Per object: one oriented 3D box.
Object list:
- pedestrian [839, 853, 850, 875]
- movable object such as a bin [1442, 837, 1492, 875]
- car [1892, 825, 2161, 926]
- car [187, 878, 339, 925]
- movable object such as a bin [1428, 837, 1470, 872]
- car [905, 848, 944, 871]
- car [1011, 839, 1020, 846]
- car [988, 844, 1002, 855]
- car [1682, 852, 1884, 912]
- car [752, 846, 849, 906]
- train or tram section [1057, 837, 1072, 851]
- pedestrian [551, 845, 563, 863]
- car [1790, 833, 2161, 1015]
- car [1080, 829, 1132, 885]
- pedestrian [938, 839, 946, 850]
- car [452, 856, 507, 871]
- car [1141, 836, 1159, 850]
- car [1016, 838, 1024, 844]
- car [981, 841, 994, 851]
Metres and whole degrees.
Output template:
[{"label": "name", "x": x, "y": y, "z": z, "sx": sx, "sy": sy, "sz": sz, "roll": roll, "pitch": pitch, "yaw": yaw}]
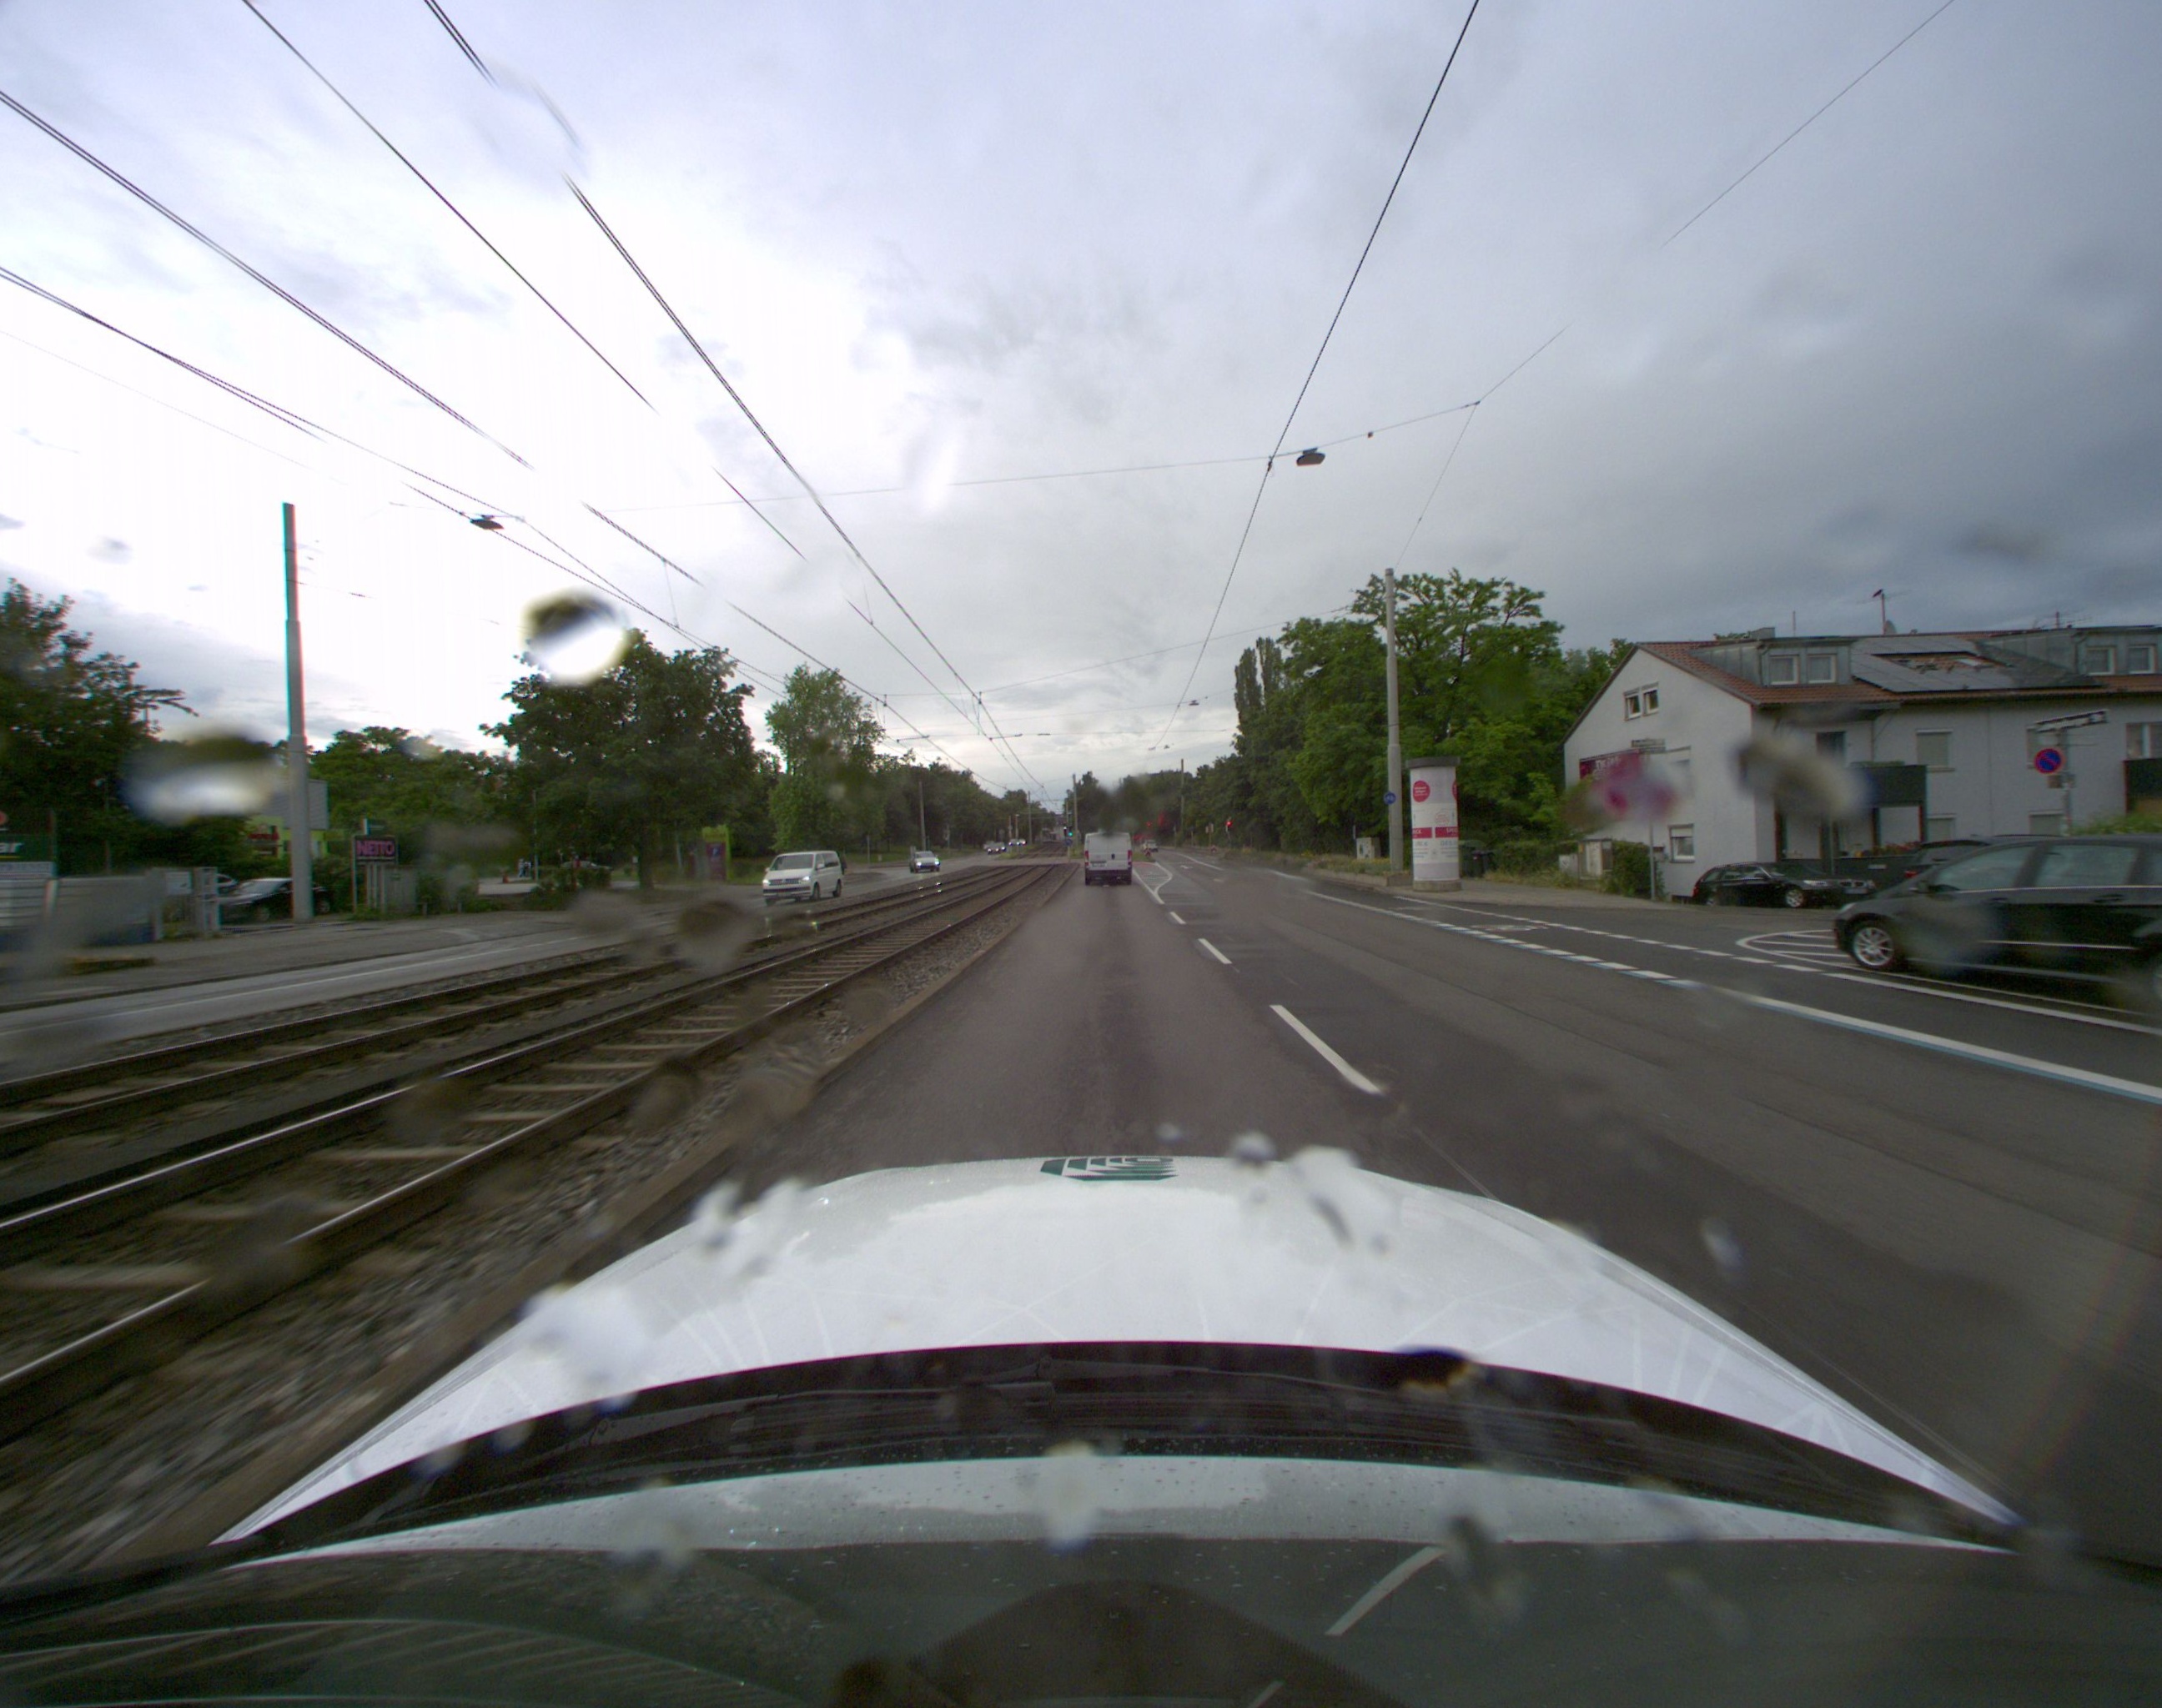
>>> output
[{"label": "pedestrian", "x": -16.938, "y": 0.705, "z": 58.280, "sx": 0.589, "sy": 1.532, "sz": 0.668, "roll": -1, "pitch": -1, "yaw": 0}, {"label": "movable object such as a bin", "x": 14.862, "y": 0.083, "z": 31.399, "sx": 1.307, "sy": 1.418, "sz": 1.299, "roll": 0, "pitch": -1, "yaw": -1}, {"label": "car", "x": 17.680, "y": 0.379, "z": 14.613, "sx": 4.253, "sy": 1.655, "sz": 1.882, "roll": 1, "pitch": -1, "yaw": 5}, {"label": "car", "x": -28.916, "y": 1.620, "z": 28.983, "sx": 1.685, "sy": 1.456, "sz": 3.990, "roll": 0, "pitch": -1, "yaw": -7}, {"label": "movable object such as a bin", "x": 14.865, "y": 0.026, "z": 32.901, "sx": 1.181, "sy": 1.418, "sz": 1.134, "roll": 0, "pitch": -1, "yaw": -1}, {"label": "car", "x": -12.678, "y": 0.450, "z": 65.832, "sx": 2.003, "sy": 1.649, "sz": 4.722, "roll": -4, "pitch": 1, "yaw": -24}, {"label": "car", "x": -13.026, "y": -2.282, "z": 162.247, "sx": 1.596, "sy": 1.401, "sz": 3.791, "roll": -1, "pitch": 2, "yaw": -1}, {"label": "car", "x": -11.985, "y": -0.669, "z": 113.203, "sx": 1.596, "sy": 1.401, "sz": 3.791, "roll": -1, "pitch": 2, "yaw": -1}, {"label": "car", "x": 19.877, "y": 0.886, "z": 23.413, "sx": 1.746, "sy": 1.391, "sz": 4.727, "roll": -1, "pitch": -6, "yaw": 2}, {"label": "car", "x": -10.944, "y": 0.770, "z": 32.224, "sx": 1.988, "sy": 2.013, "sz": 5.059, "roll": -4, "pitch": 1, "yaw": -1}, {"label": "train or tram section", "x": -4.678, "y": -2.841, "z": 235.351, "sx": 4.046, "sy": 3.894, "sz": 15.038, "roll": -1, "pitch": -1, "yaw": 0}, {"label": "pedestrian", "x": -49.011, "y": 0.007, "z": 76.143, "sx": 0.672, "sy": 1.602, "sz": 0.608, "roll": -1, "pitch": -1, "yaw": 7}, {"label": "car", "x": 10.069, "y": 0.566, "z": 8.349, "sx": 1.830, "sy": 1.533, "sz": 4.440, "roll": -1, "pitch": 1, "yaw": 1}, {"label": "car", "x": 1.069, "y": 0.099, "z": 36.783, "sx": 2.139, "sy": 2.283, "sz": 5.063, "roll": -1, "pitch": 1, "yaw": 0}, {"label": "pedestrian", "x": -21.511, "y": -1.505, "z": 126.108, "sx": 1.012, "sy": 1.600, "sz": 1.038, "roll": -2, "pitch": 1, "yaw": -6}, {"label": "car", "x": -62.933, "y": 0.996, "z": 85.280, "sx": 4.191, "sy": 1.533, "sz": 1.836, "roll": -1, "pitch": 0, "yaw": -11}, {"label": "car", "x": 8.500, "y": -1.358, "z": 100.064, "sx": 1.699, "sy": 1.521, "sz": 3.789, "roll": -1, "pitch": 2, "yaw": -2}, {"label": "car", "x": -13.918, "y": -2.932, "z": 184.961, "sx": 1.596, "sy": 1.401, "sz": 3.791, "roll": -1, "pitch": 2, "yaw": -1}, {"label": "car", "x": -16.051, "y": -1.469, "z": 139.886, "sx": 1.714, "sy": 1.553, "sz": 3.861, "roll": -2, "pitch": 2, "yaw": -1}]
